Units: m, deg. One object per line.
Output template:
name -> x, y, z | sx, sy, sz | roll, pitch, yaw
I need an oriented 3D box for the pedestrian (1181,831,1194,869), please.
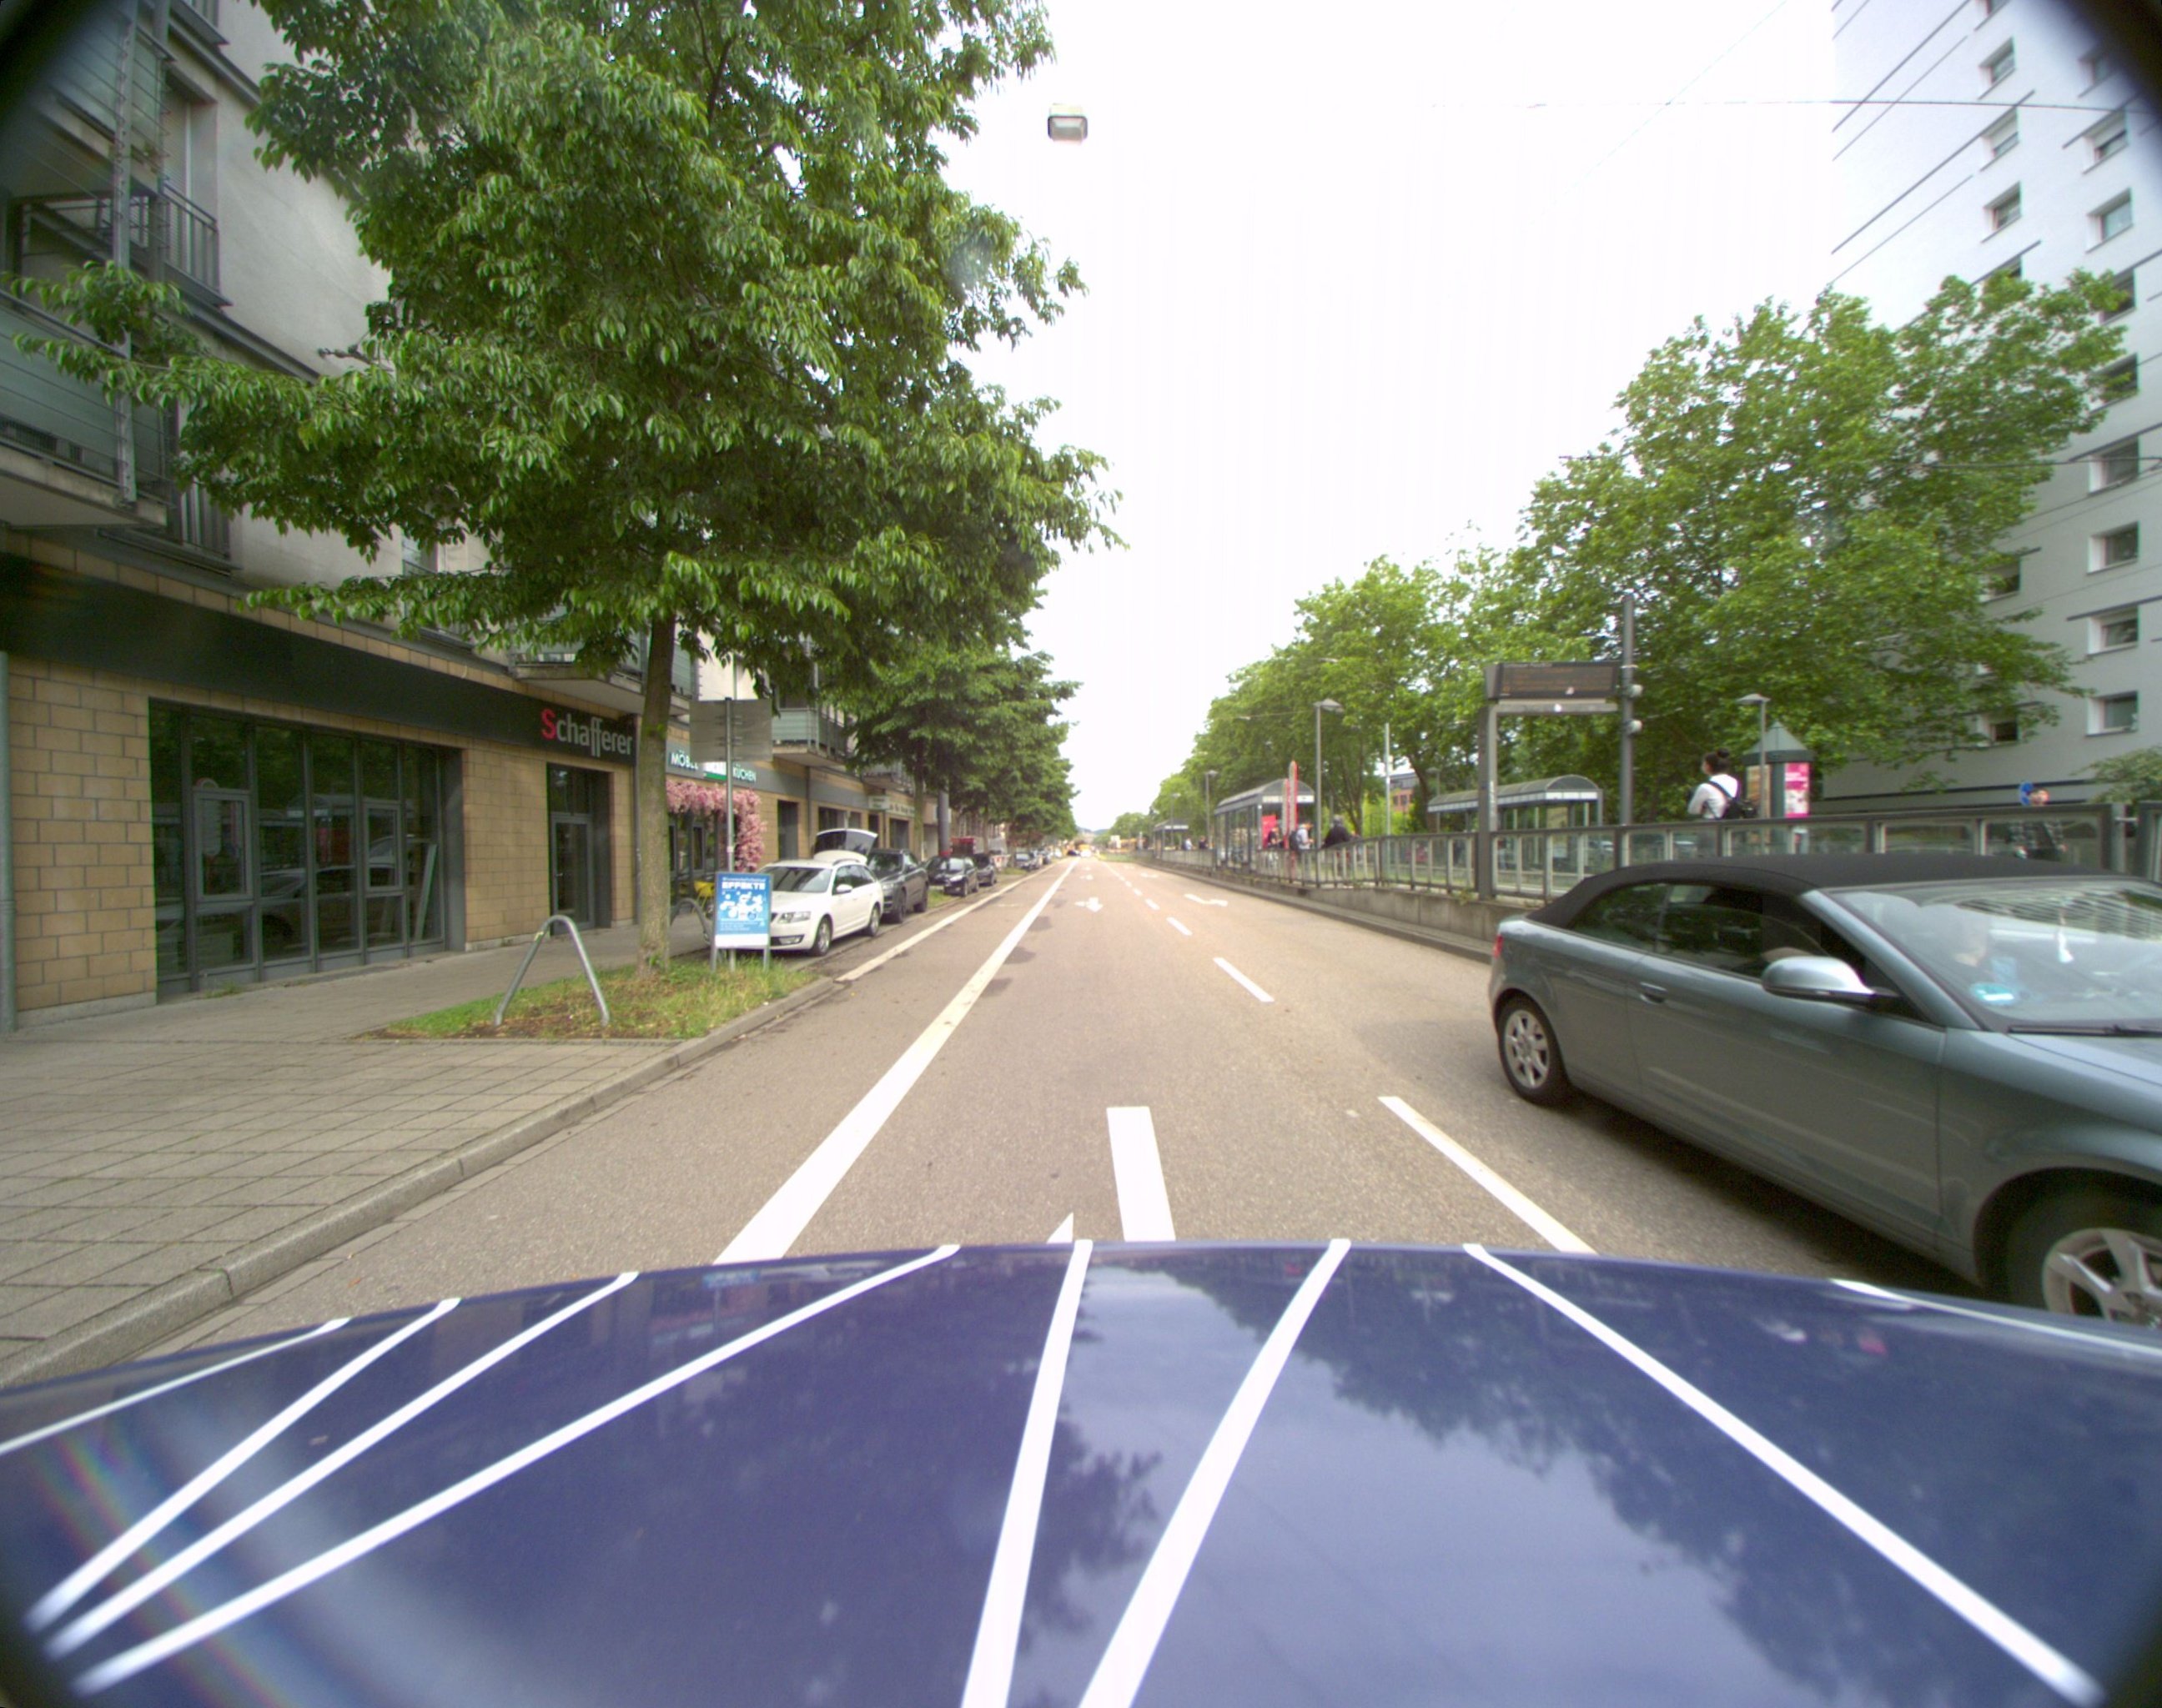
pedestrian -> 5.819, -0.231, 41.552 | 0.585, 2.038, 0.821 | -2, 1, 4

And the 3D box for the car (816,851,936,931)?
car -> -4.711, 0.771, 18.031 | 1.730, 1.652, 3.942 | 1, 1, 1

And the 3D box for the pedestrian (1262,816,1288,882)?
pedestrian -> 6.203, -0.161, 24.305 | 0.585, 2.038, 0.821 | -2, 1, 4

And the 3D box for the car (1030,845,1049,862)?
car -> -4.248, -0.044, 78.332 | 1.730, 1.675, 3.815 | 1, 1, 1

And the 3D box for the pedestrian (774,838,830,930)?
pedestrian -> -5.686, 0.592, 15.540 | 0.745, 1.795, 0.839 | -2, 1, 0

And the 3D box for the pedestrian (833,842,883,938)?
pedestrian -> -4.561, 0.730, 15.580 | 0.652, 1.922, 0.644 | -2, 1, 16

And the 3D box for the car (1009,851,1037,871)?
car -> -4.231, 0.504, 55.900 | 1.730, 1.375, 3.815 | 1, 1, 1

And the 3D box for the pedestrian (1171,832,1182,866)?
pedestrian -> 5.835, -0.281, 46.424 | 0.585, 2.038, 0.821 | -2, 1, 4

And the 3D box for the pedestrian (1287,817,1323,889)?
pedestrian -> 5.746, -0.022, 19.511 | 0.683, 1.781, 0.821 | -2, 1, 4

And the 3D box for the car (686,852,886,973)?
car -> -4.744, 0.831, 12.905 | 1.730, 1.652, 4.103 | 1, 1, 1

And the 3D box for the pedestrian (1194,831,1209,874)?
pedestrian -> 5.828, -0.066, 36.726 | 0.585, 2.038, 0.821 | -2, 1, 4

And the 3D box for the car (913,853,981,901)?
car -> -4.683, 0.749, 27.116 | 1.684, 1.536, 3.942 | 1, 1, 1

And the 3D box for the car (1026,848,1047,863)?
car -> -4.184, 0.161, 72.606 | 1.730, 1.375, 3.815 | 1, 1, 1

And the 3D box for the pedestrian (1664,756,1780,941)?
pedestrian -> 6.309, -0.054, 7.503 | 0.662, 1.741, 0.534 | -2, 1, 1

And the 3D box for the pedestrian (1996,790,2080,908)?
pedestrian -> 14.939, -0.080, 11.868 | 0.622, 1.779, 0.534 | -2, 1, 1

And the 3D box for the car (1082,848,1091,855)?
car -> 1.112, -0.533, 149.562 | 1.865, 1.339, 3.815 | 1, 1, 1

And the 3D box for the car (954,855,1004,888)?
car -> -4.605, 0.756, 34.768 | 1.730, 1.375, 3.815 | 1, 1, 1

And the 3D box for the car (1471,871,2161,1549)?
car -> 3.250, 0.846, 2.742 | 1.637, 1.367, 4.013 | -2, 1, 1

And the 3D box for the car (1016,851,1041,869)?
car -> -4.229, 0.437, 62.139 | 1.730, 1.375, 3.815 | 1, 1, 1

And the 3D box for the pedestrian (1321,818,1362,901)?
pedestrian -> 5.690, 0.121, 16.592 | 0.661, 1.781, 0.535 | -1, 2, 40
